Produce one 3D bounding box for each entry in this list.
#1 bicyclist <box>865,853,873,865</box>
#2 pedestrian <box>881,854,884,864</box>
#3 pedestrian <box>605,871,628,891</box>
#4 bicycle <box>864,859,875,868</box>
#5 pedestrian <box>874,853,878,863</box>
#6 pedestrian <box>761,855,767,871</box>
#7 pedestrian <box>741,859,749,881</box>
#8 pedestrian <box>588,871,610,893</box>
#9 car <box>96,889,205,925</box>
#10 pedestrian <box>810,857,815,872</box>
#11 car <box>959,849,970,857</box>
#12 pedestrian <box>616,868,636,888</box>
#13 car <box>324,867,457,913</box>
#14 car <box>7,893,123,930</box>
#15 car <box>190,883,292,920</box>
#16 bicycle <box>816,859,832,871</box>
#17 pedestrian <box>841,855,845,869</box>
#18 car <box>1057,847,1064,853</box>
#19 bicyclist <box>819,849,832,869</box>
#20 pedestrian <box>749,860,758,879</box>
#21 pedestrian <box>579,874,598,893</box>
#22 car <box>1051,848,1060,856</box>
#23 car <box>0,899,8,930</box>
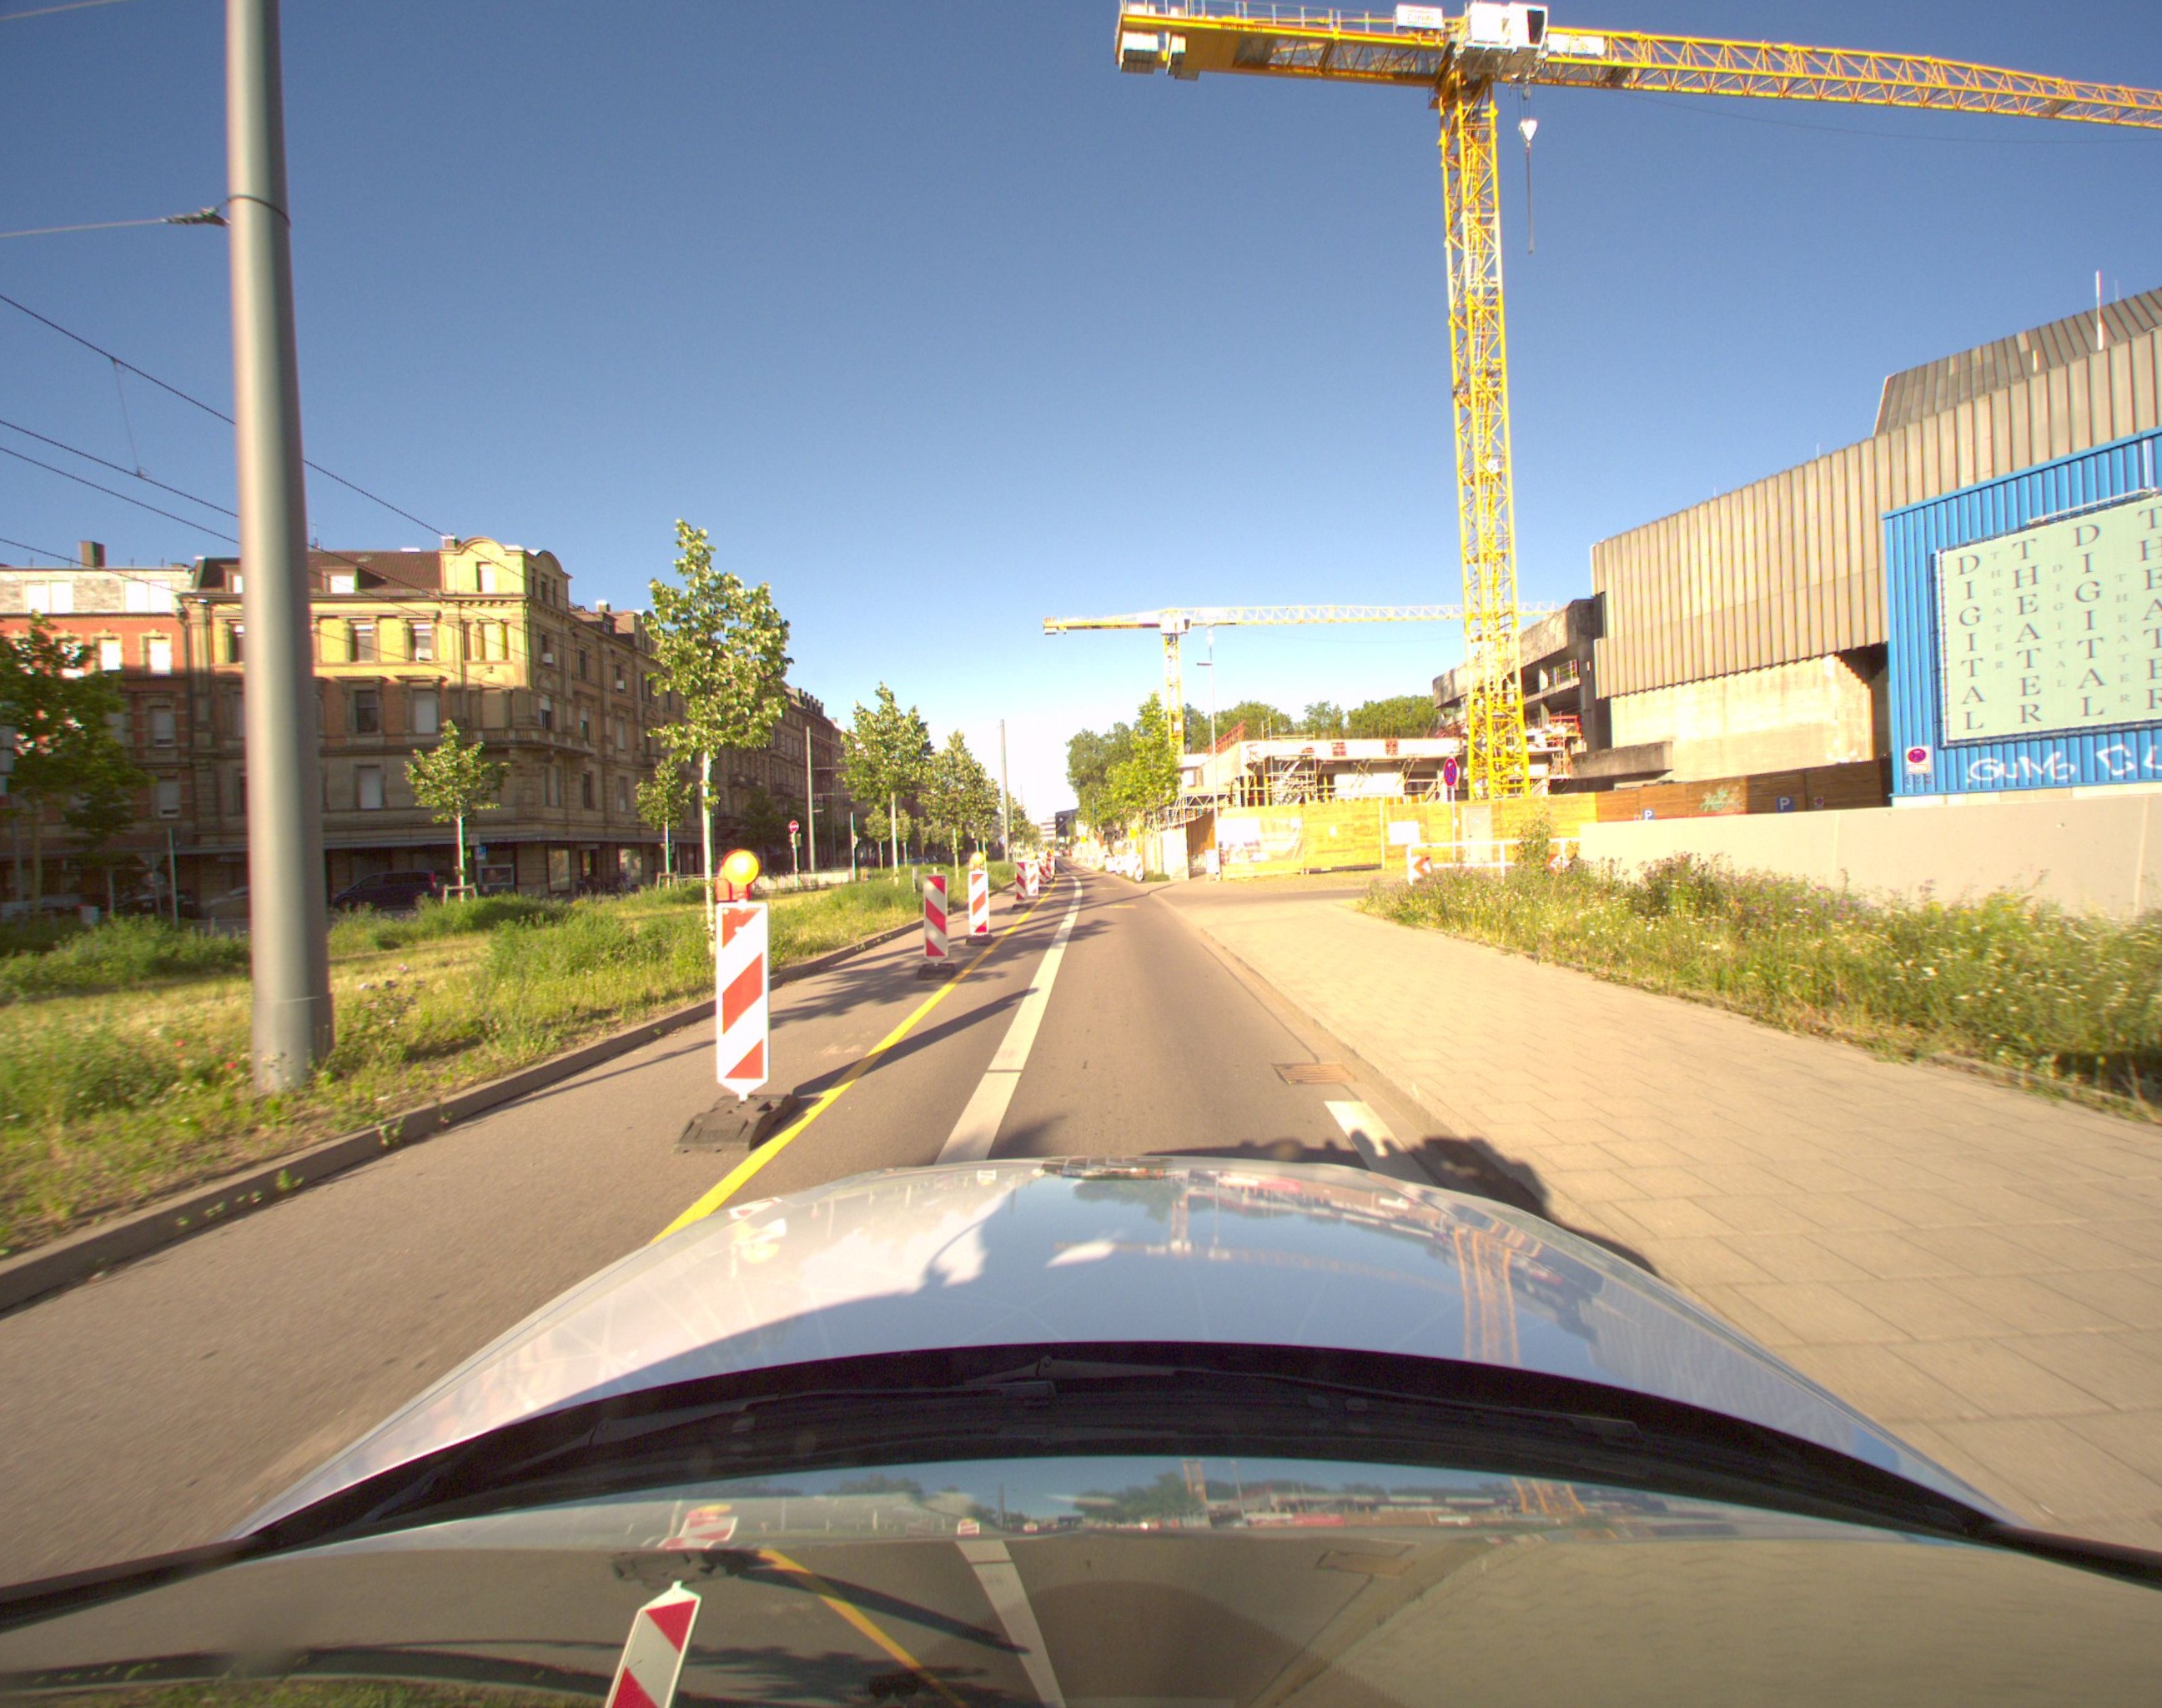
[{"bbox_3d":[-22.442,0.515,86.088,0.635,1.239,0.738,-3,0,-1],"label":"bicyclist"},{"bbox_3d":[-31.404,0.790,128.672,0.460,1.585,0.433,-1,0,-9],"label":"pedestrian"},{"bbox_3d":[-28.812,1.666,50.524,0.789,1.208,0.929,-2,0,-1],"label":"pedestrian"},{"bbox_3d":[-22.429,0.965,86.311,0.635,0.857,2.030,-3,0,-1],"label":"bicycle"},{"bbox_3d":[-29.090,0.571,115.431,0.404,1.532,0.434,-1,0,-2],"label":"pedestrian"},{"bbox_3d":[-30.992,0.870,79.718,0.381,1.585,0.393,-1,0,28],"label":"pedestrian"},{"bbox_3d":[-28.138,1.337,68.255,0.506,1.764,0.406,-1,0,-3],"label":"pedestrian"},{"bbox_3d":[-28.820,1.698,48.715,0.688,1.246,0.929,-2,0,-1],"label":"pedestrian"},{"bbox_3d":[-43.850,2.491,38.444,3.050,1.409,1.577,-3,1,-7],"label":"car"},{"bbox_3d":[-28.612,1.087,86.801,0.402,1.585,0.425,-1,0,-3],"label":"pedestrian"},{"bbox_3d":[-22.831,-0.200,160.076,1.590,1.483,3.622,-1,0,-1],"label":"car"},{"bbox_3d":[-29.019,1.520,51.911,0.688,1.208,0.929,-2,0,-1],"label":"pedestrian"},{"bbox_3d":[-33.356,1.710,39.477,4.505,1.903,1.894,-3,1,-7],"label":"car"},{"bbox_3d":[-47.039,2.642,37.771,3.050,1.409,1.577,-3,1,-7],"label":"car"},{"bbox_3d":[-39.984,2.248,38.816,3.141,1.468,1.381,-3,0,-7],"label":"car"},{"bbox_3d":[-21.493,0.924,68.105,0.693,0.978,1.826,-3,0,-1],"label":"bicycle"},{"bbox_3d":[-28.635,0.957,97.939,0.366,1.764,0.406,-1,0,-3],"label":"pedestrian"},{"bbox_3d":[-5.909,-1.159,239.313,1.878,1.842,3.664,-3,1,-2],"label":"car"},{"bbox_3d":[-21.527,0.444,68.605,0.693,1.657,0.882,-2,0,-2],"label":"bicyclist"},{"bbox_3d":[-26.893,1.281,66.833,0.485,1.585,0.533,-1,0,-2],"label":"pedestrian"},{"bbox_3d":[-29.754,1.783,49.183,0.688,1.059,0.735,-2,0,-1],"label":"pedestrian"},{"bbox_3d":[-6.146,-0.411,195.485,1.878,1.842,3.664,-3,1,-2],"label":"car"},{"bbox_3d":[-51.961,2.909,37.377,3.050,1.409,1.482,-3,1,-7],"label":"car"}]
